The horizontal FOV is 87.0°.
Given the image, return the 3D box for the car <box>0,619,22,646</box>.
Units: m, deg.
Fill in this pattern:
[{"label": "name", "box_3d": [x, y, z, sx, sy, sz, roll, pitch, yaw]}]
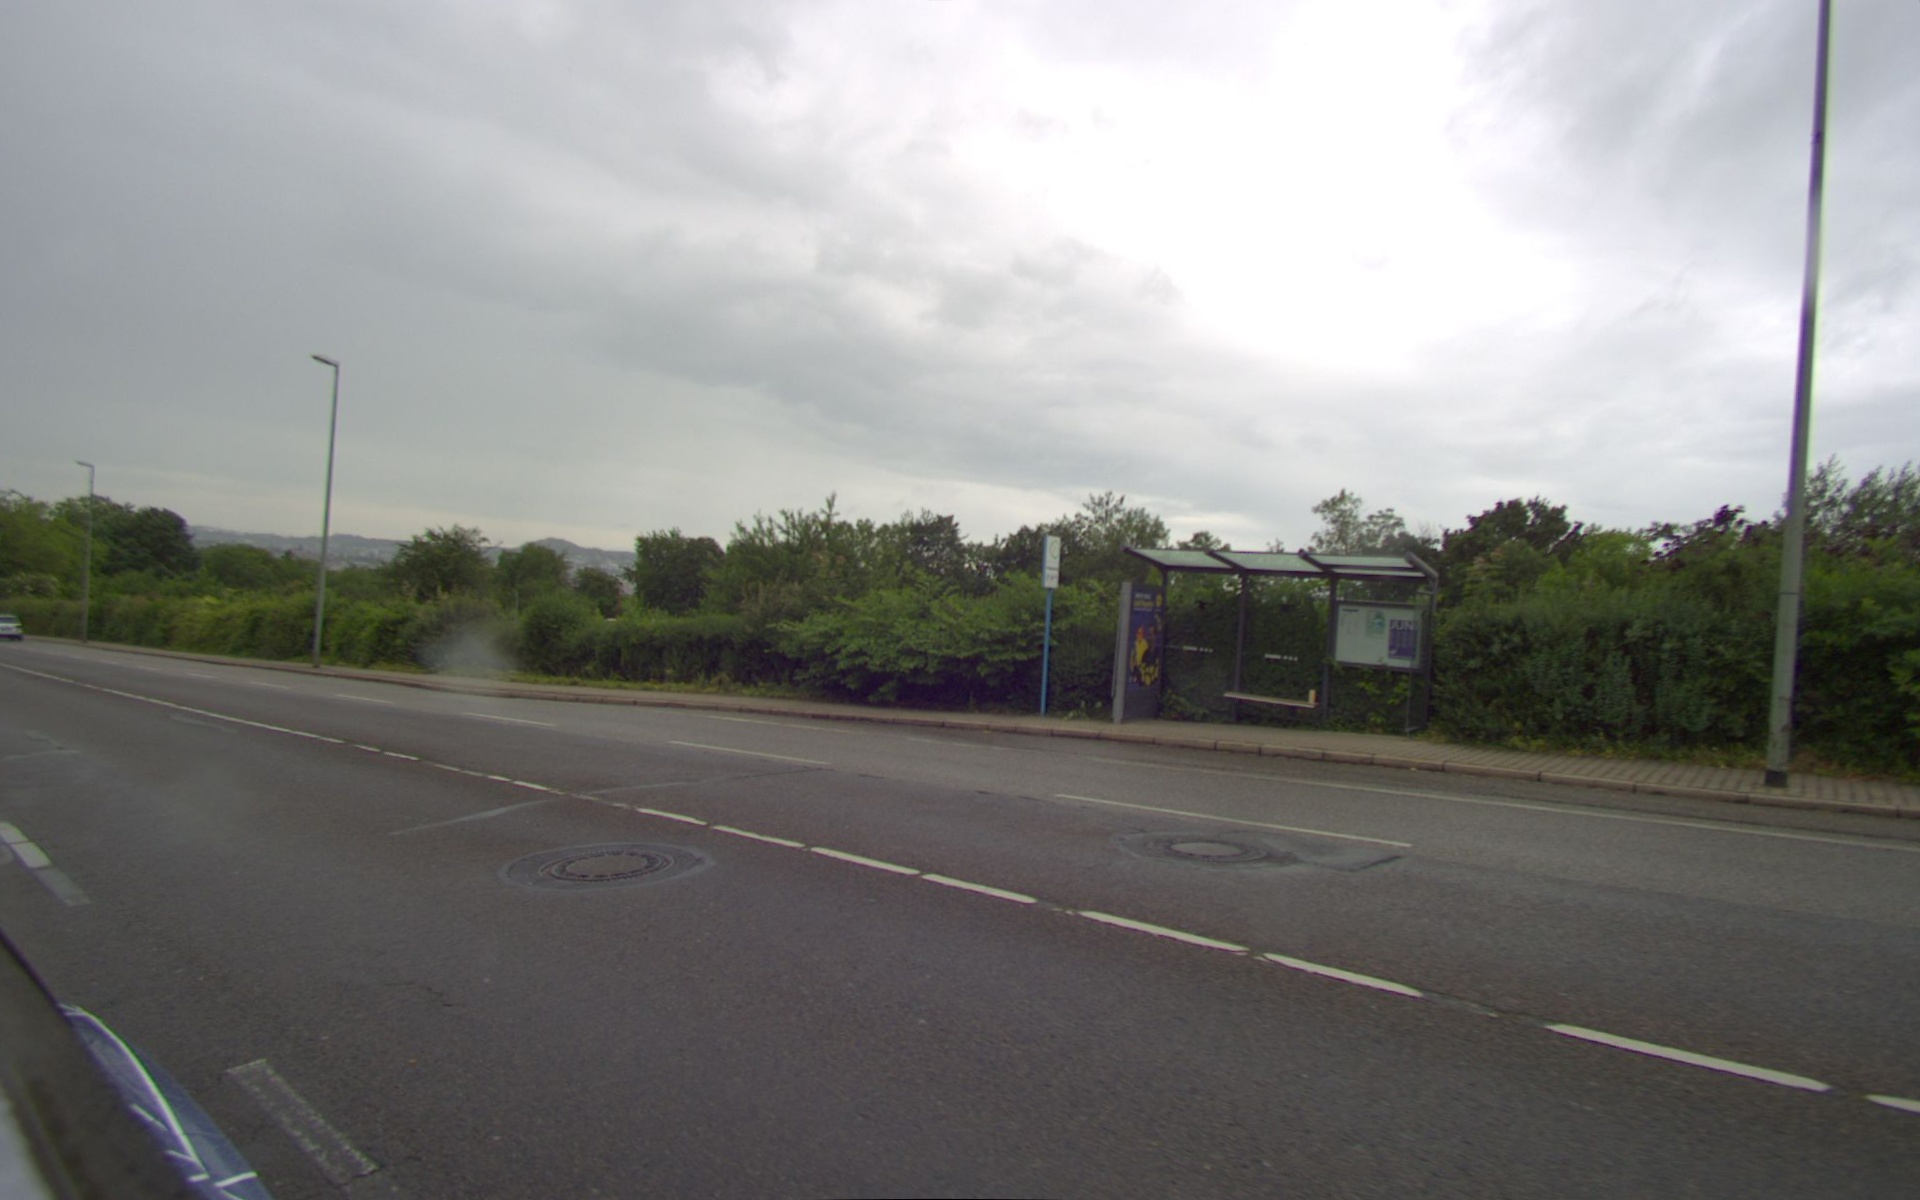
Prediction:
[{"label": "car", "box_3d": [-59.320, 1.965, 62.279, 3.996, 1.580, 1.739, 0, -4, 39]}]
